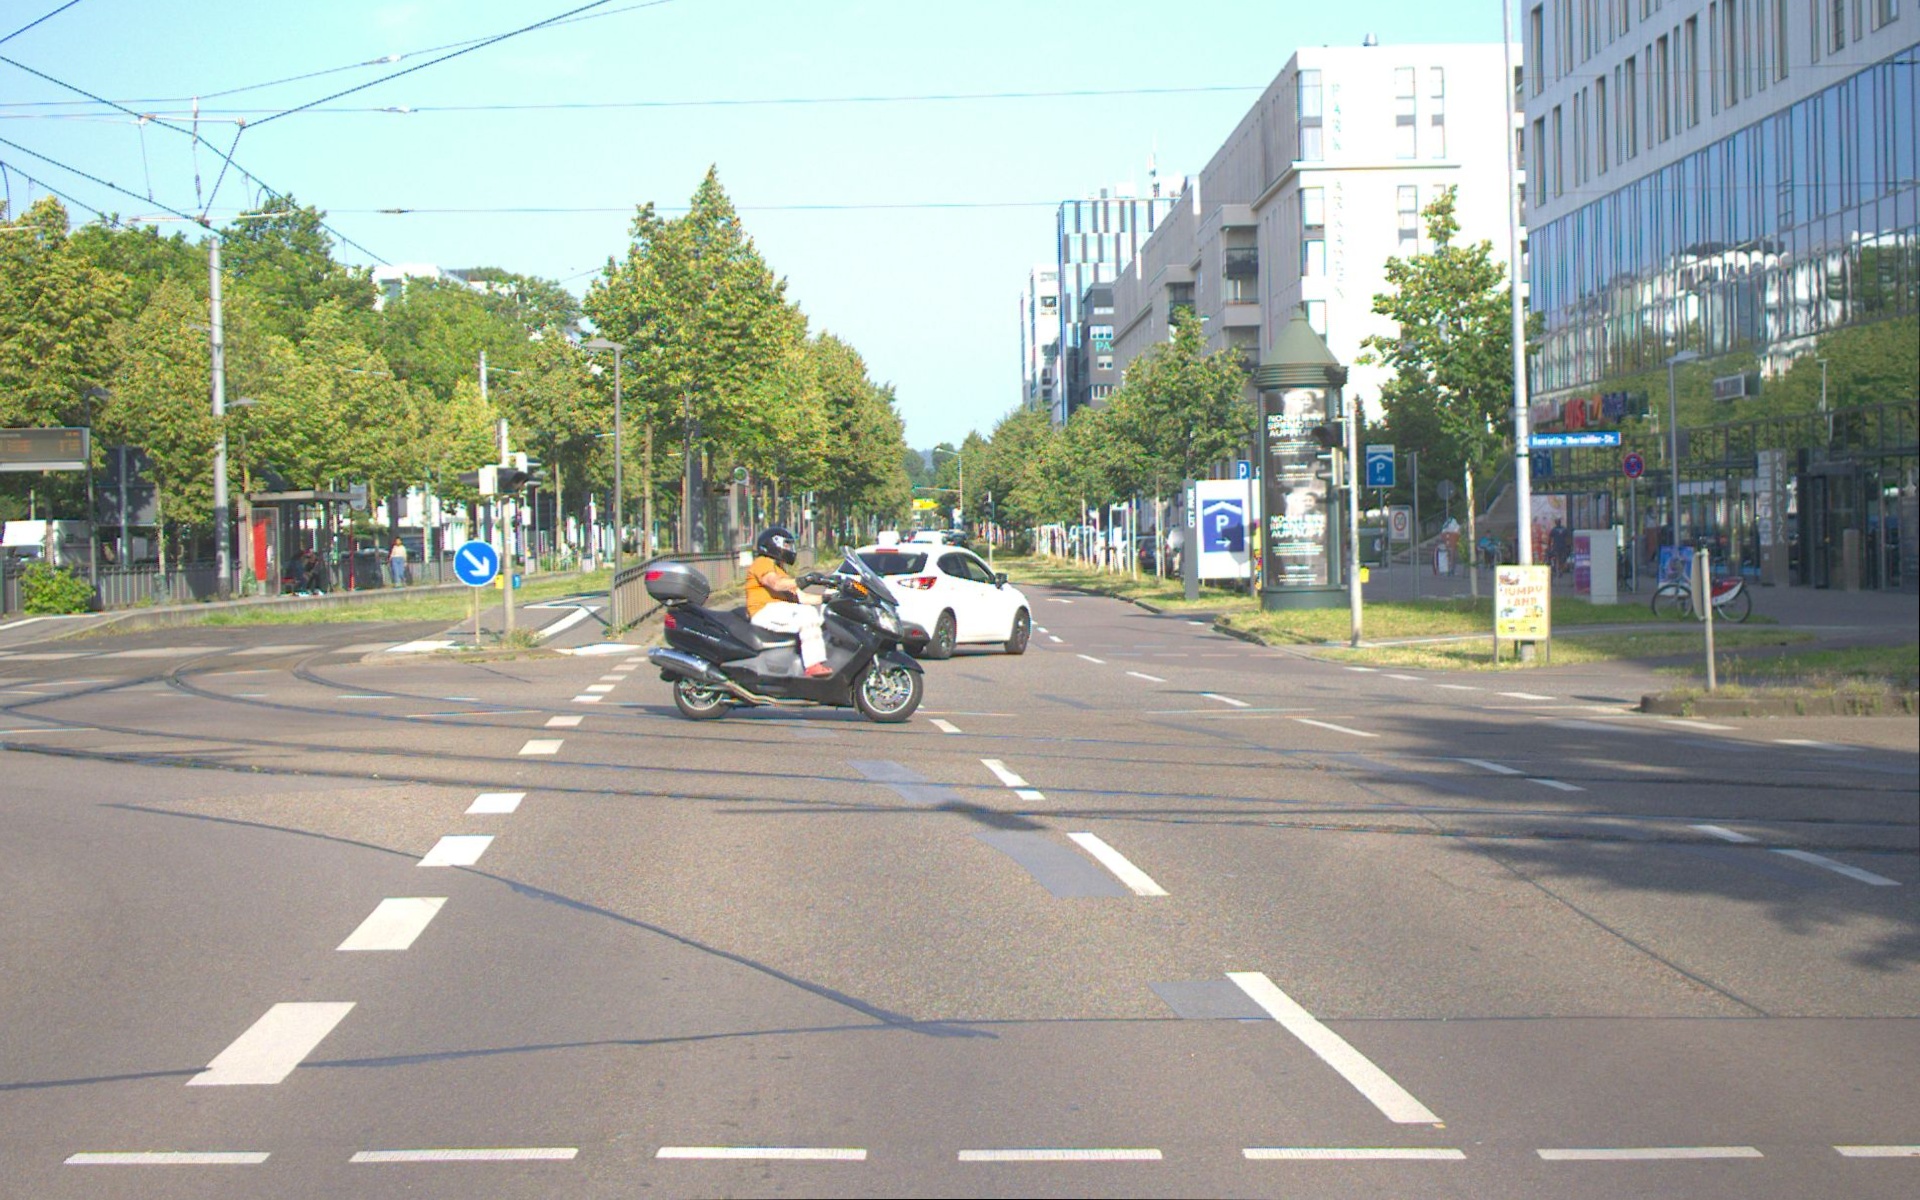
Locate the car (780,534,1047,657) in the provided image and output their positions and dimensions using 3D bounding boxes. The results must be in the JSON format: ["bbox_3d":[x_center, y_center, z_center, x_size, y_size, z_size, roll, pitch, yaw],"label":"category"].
[{"bbox_3d":[-0.556,-0.086,45.072,1.996,1.499,4.088,2,1,23],"label":"car"}]

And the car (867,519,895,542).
[{"bbox_3d":[-5.942,-5.206,258.178,2.014,1.678,4.000,1,2,0],"label":"car"}]

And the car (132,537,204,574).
[{"bbox_3d":[-34.418,-1.952,149.516,1.881,1.554,3.999,-1,1,5],"label":"car"}]

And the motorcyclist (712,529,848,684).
[{"bbox_3d":[-1.431,0.040,27.421,0.845,1.198,0.784,1,2,18],"label":"motorcyclist"}]

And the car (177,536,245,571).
[{"bbox_3d":[-33.945,-2.124,155.939,1.881,1.554,3.999,-1,1,5],"label":"car"}]

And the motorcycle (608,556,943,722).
[{"bbox_3d":[-1.474,0.291,27.402,2.543,1.259,0.820,1,1,18],"label":"motorcycle"}]

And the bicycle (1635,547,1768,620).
[{"bbox_3d":[11.426,-0.264,52.991,0.771,1.028,1.878,-2,4,-44],"label":"bicycle"}]

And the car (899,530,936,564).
[{"bbox_3d":[-2.215,-2.783,179.146,1.864,1.678,4.000,1,2,0],"label":"car"}]

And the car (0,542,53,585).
[{"bbox_3d":[-35.693,-1.375,129.098,1.881,1.554,3.999,-1,1,5],"label":"car"}]

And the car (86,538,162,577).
[{"bbox_3d":[-35.009,-1.801,144.032,1.881,1.554,3.999,-1,1,5],"label":"car"}]
